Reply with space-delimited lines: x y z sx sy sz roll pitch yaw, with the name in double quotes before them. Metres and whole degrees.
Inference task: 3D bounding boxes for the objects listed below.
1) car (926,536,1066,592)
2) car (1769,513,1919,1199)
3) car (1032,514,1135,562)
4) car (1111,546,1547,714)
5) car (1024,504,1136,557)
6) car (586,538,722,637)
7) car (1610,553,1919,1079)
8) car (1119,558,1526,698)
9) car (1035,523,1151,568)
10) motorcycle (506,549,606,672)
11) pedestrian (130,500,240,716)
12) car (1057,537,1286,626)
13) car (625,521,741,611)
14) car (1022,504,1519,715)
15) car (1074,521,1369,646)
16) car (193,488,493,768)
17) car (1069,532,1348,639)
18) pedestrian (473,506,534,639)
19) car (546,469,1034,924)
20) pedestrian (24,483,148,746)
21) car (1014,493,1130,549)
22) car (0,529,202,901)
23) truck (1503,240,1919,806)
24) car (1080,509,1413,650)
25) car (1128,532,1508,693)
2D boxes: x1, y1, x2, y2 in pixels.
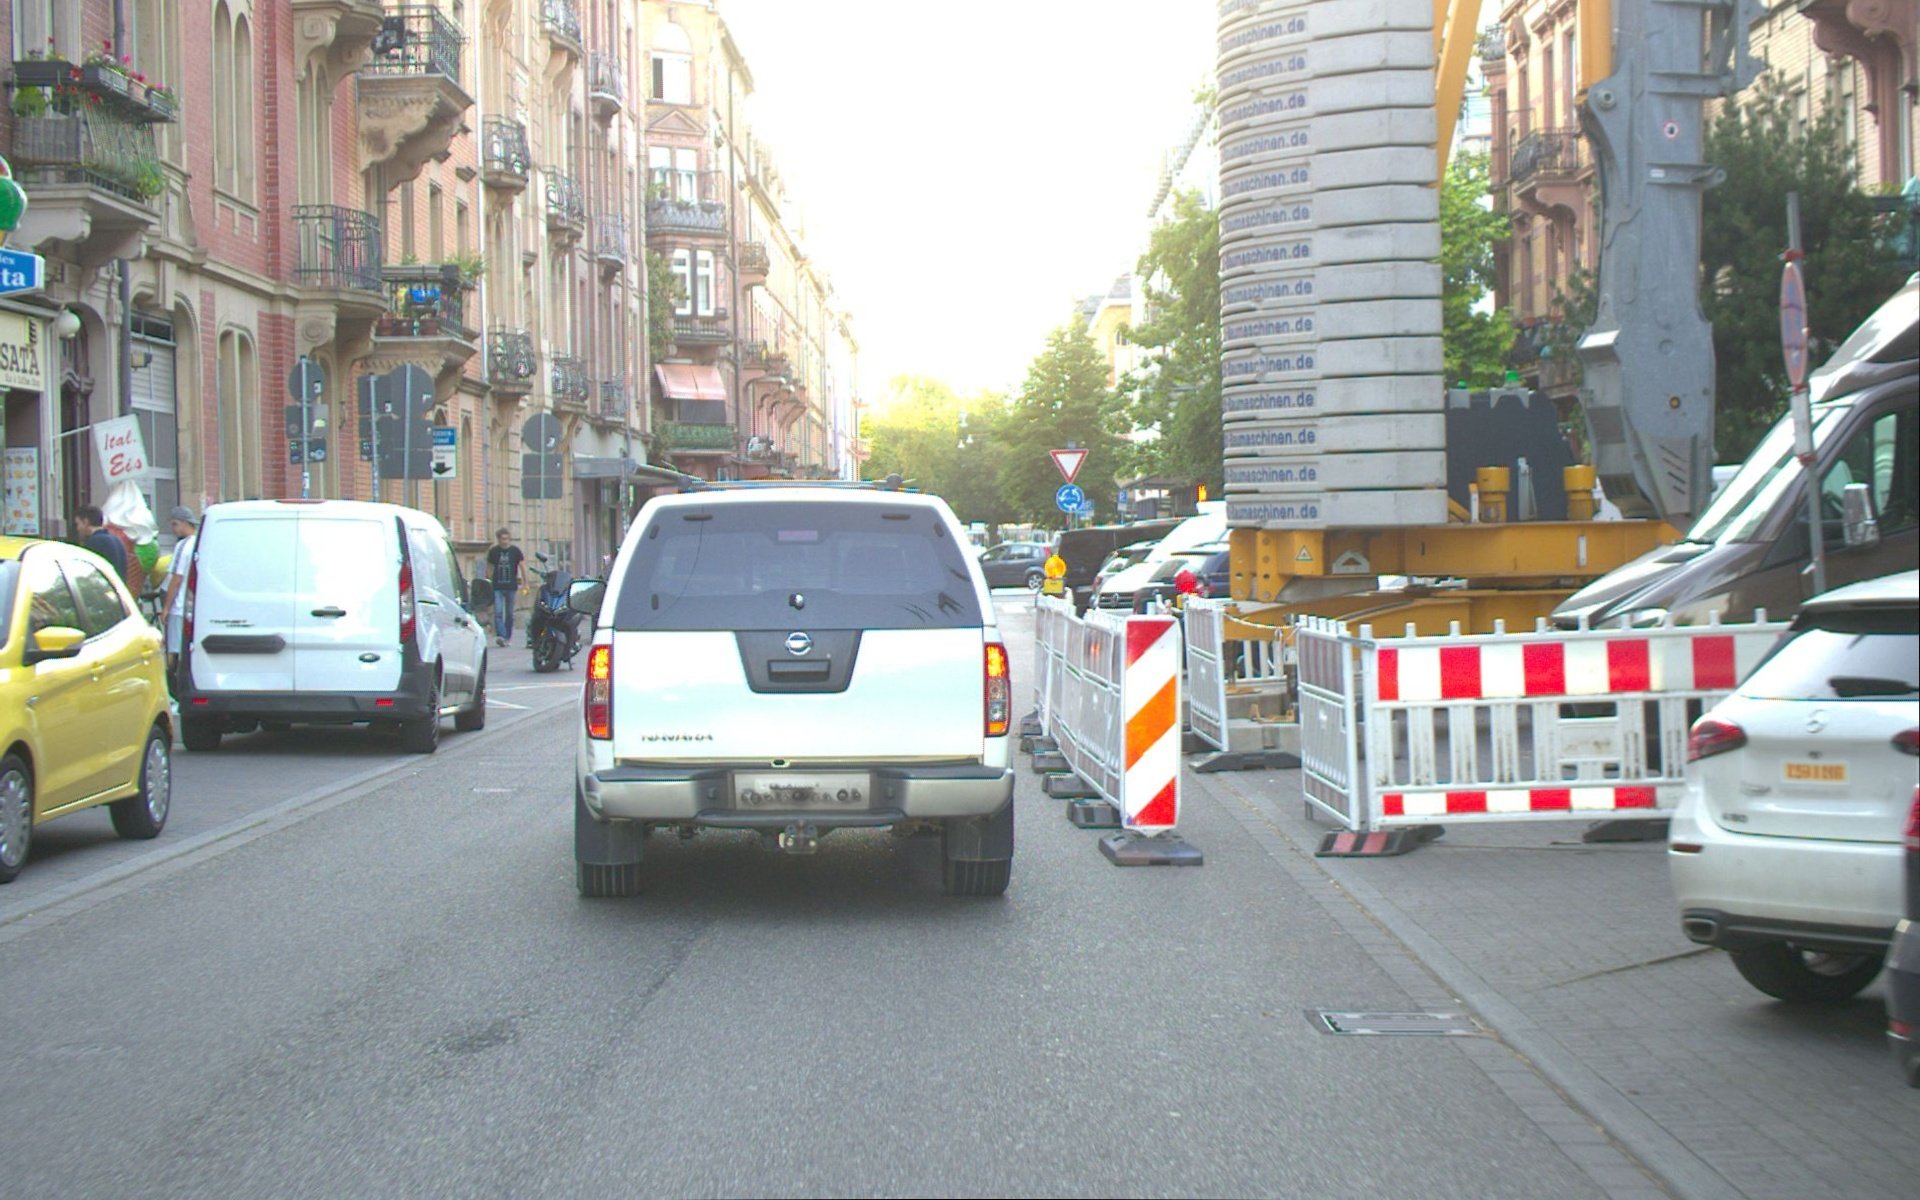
"car" 1.037 -1.051 99.886 3.765 1.588 1.670 1 1 35
"car" 3.775 0.564 8.037 3.882 1.525 1.637 -1 1 -39
"car" 5.567 -2.791 154.636 4.588 2.170 1.819 0 1 3
"car" 3.601 0.275 34.095 4.196 1.616 1.819 0 1 3
"car" 4.982 -2.866 141.899 4.588 2.170 1.819 0 1 3
"car" -4.842 -0.230 54.835 1.791 1.525 4.000 0 1 0
"car" 3.957 0.582 10.891 3.548 1.459 1.611 -1 1 -31
"car" 3.838 0.278 36.526 4.196 1.425 1.819 0 1 6
"car" 4.855 -1.969 125.152 4.196 1.616 1.819 0 1 3
"motorcycle" -4.789 0.108 40.919 0.837 1.411 2.549 0 1 1
"pedestrian" -6.765 0.060 30.032 0.617 1.863 0.739 0 1 23
"car" 3.917 -0.351 63.952 4.196 1.616 1.819 0 1 3
"car" -4.844 -0.611 60.510 1.710 1.525 4.000 0 1 0
"car" 2.710 0.064 30.048 4.196 1.774 1.819 0 1 6
"car" 3.776 -0.247 49.955 4.196 1.774 1.819 0 1 3
"car" -4.551 0.163 25.830 1.559 1.914 3.856 1 1 0
"car" 3.793 -0.235 52.809 4.196 1.616 1.819 0 1 3
"pedestrian" -6.930 -0.424 52.218 0.788 2.007 0.934 0 1 0
"car" -0.927 0.338 15.929 1.933 1.788 4.623 0 1 -7
"pedestrian" -6.279 0.097 24.730 0.738 1.863 0.618 0 1 -1
"car" 4.473 -3.140 136.889 4.588 2.170 1.819 0 1 3
"car" -4.816 0.476 16.232 1.499 1.588 3.856 -1 1 1
"truck" 6.344 -0.376 19.079 6.320 2.966 2.264 0 -2 2
"car" 3.659 -0.274 44.334 4.196 1.774 1.819 0 1 3
"car" 4.049 0.119 39.025 4.196 1.774 1.819 0 1 6
